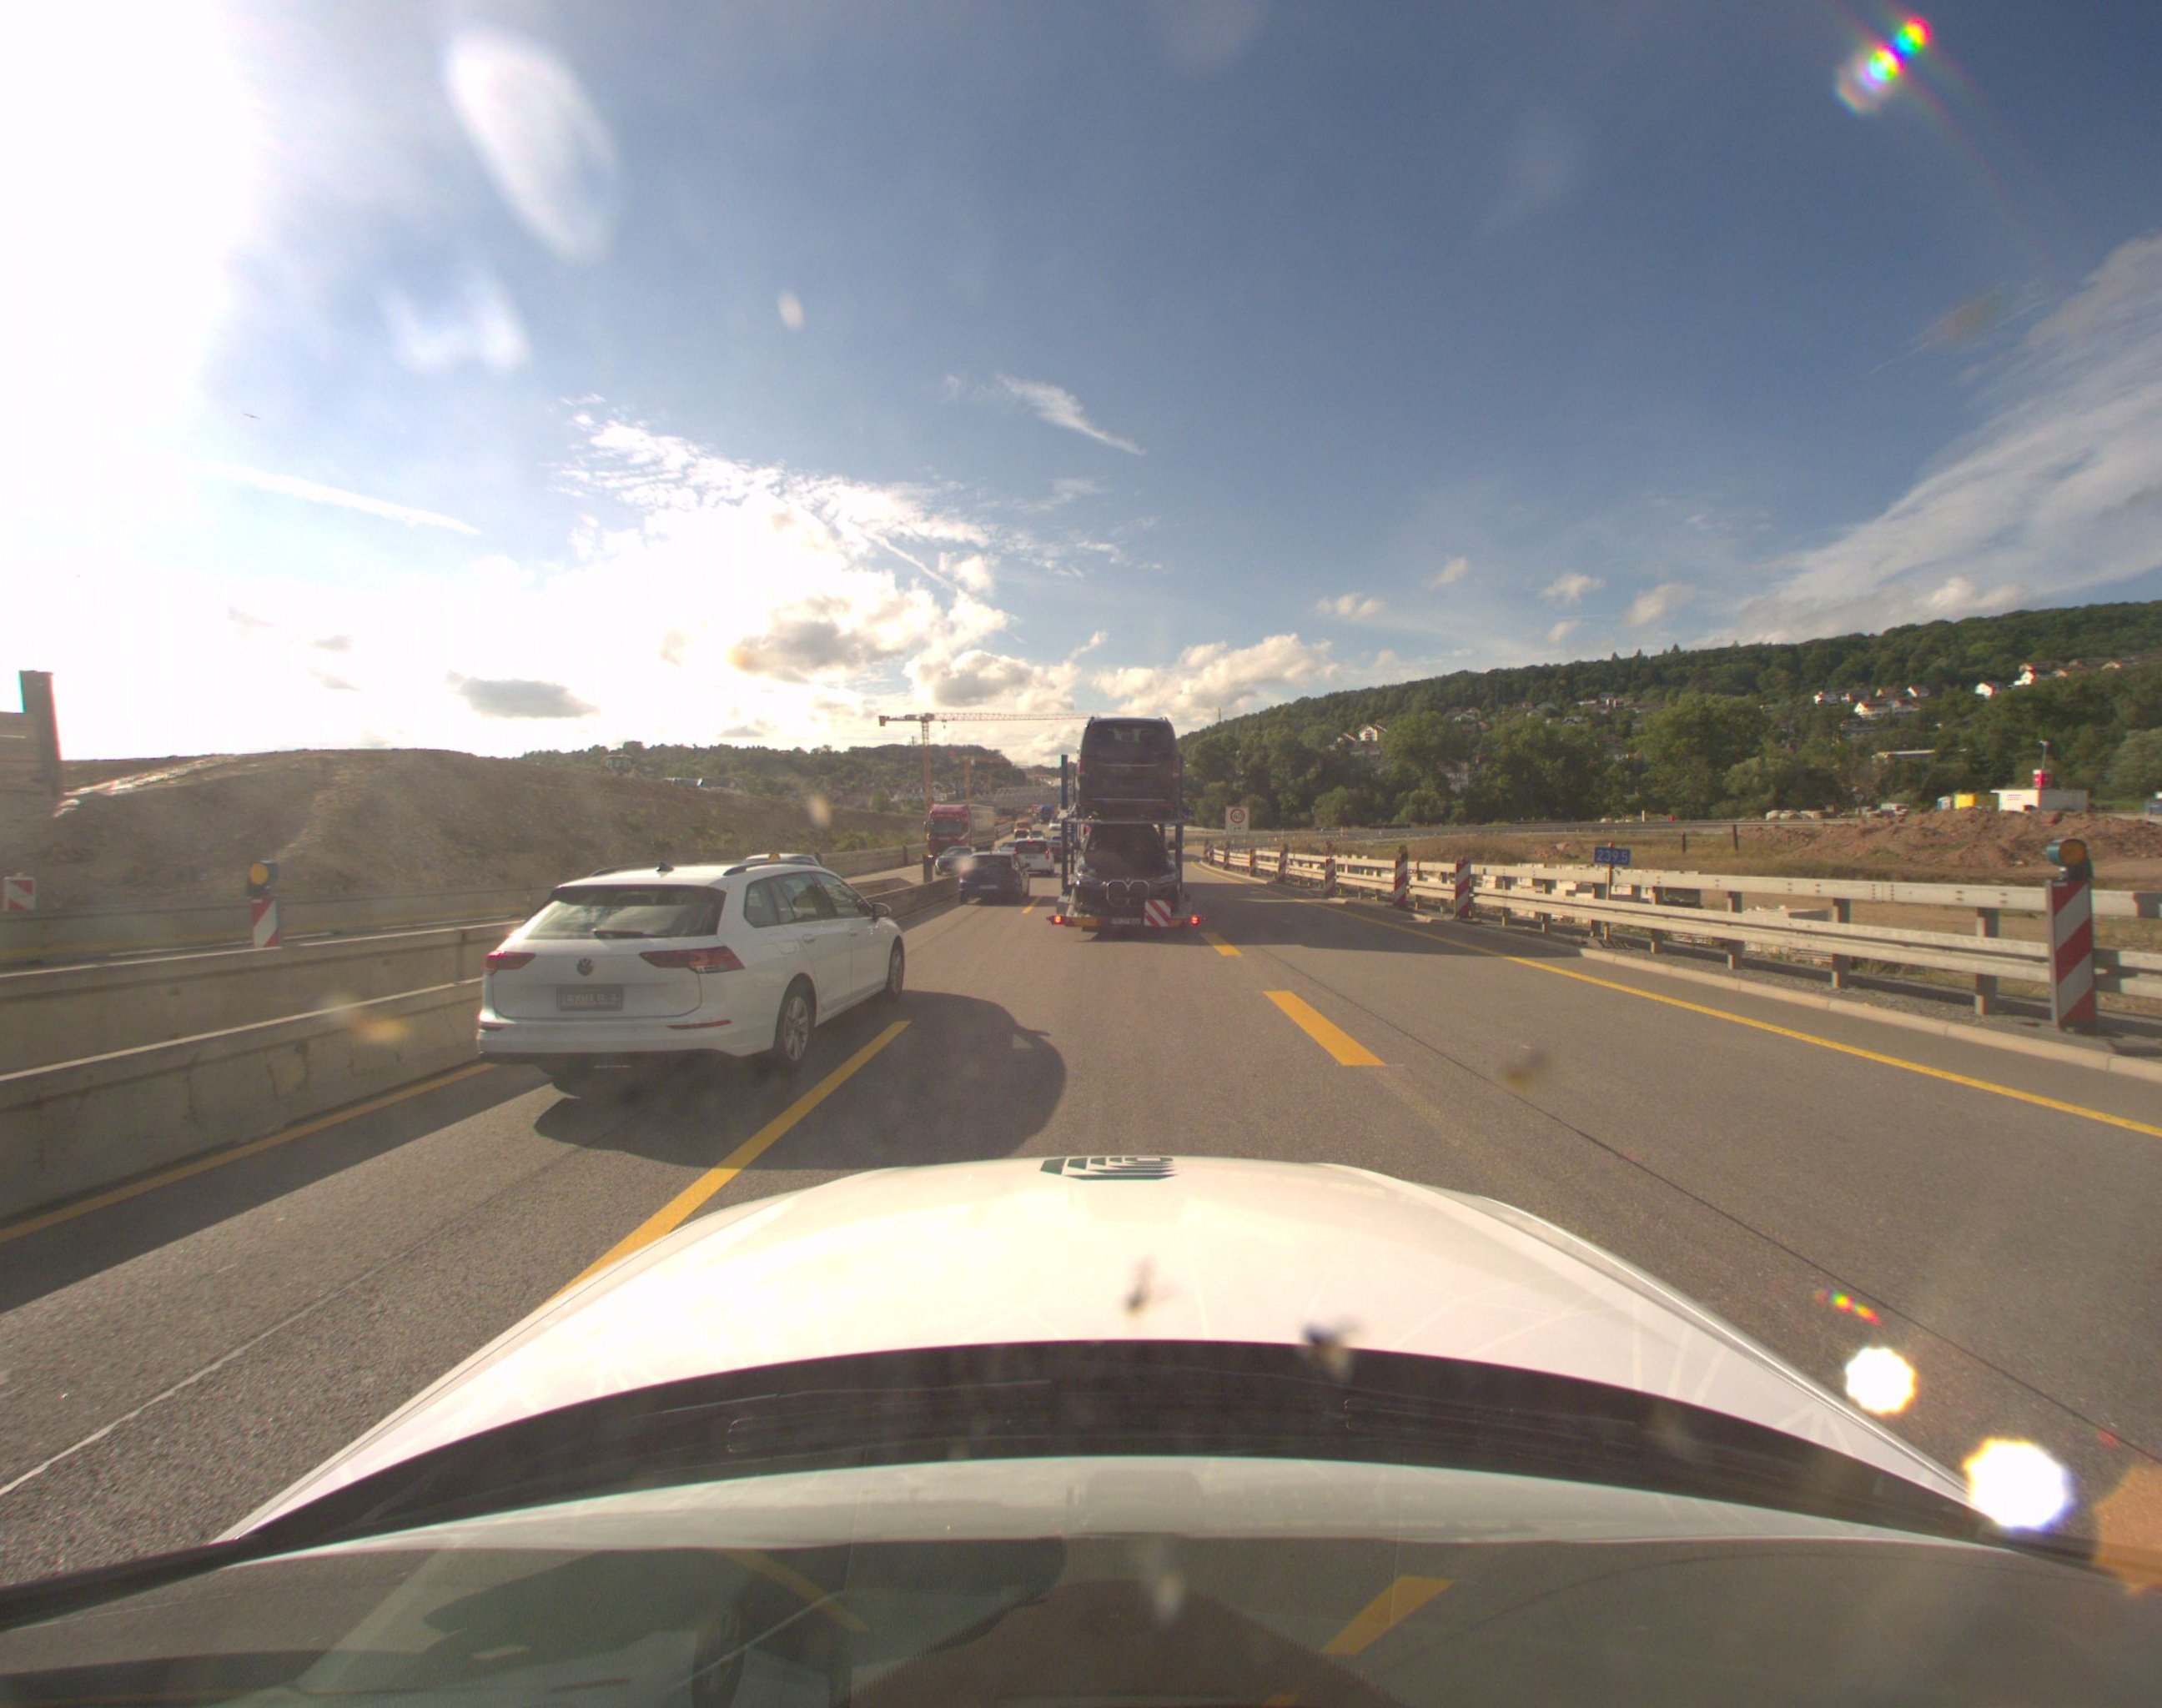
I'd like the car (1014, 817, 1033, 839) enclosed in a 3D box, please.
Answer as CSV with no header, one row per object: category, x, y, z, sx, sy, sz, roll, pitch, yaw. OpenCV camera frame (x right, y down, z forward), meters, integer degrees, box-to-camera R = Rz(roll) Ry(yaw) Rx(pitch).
car,-7.812,-3.456,110.956,1.986,2.879,6.068,0,1,2

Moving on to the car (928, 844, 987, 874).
car,-6.258,0.233,41.766,1.812,1.440,4.622,0,0,6

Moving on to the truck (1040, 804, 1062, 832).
truck,-6.096,-7.346,168.293,2.809,4.789,13.071,0,-1,5

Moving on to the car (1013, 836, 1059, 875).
car,-2.133,0.111,39.549,1.815,1.792,4.003,0,-1,3

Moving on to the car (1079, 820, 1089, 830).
car,0.507,-5.375,149.699,1.839,1.648,4.503,0,0,-1

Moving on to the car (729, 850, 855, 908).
car,-7.753,0.621,22.238,1.745,1.440,3.811,0,0,6

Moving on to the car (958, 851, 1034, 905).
car,-2.388,0.640,23.737,1.716,1.422,4.001,-1,0,1

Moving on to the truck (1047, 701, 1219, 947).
truck,1.033,-0.685,22.667,2.743,3.954,18.895,1,1,1

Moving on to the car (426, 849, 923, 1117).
car,-2.740,0.718,6.857,1.763,1.491,4.519,-1,0,2

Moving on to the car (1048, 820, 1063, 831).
car,-4.111,-4.671,132.007,1.985,1.683,4.004,0,2,3

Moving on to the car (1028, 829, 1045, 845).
car,-5.004,-1.909,91.967,1.840,1.648,4.233,0,0,-2

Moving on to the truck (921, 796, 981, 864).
truck,-8.848,-1.582,56.159,2.904,4.387,6.287,1,0,1

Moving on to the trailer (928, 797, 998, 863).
trailer,-8.753,-1.688,62.315,2.966,4.422,13.820,1,0,1

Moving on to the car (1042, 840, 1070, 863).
car,-1.816,-0.163,60.464,1.988,1.556,4.399,-1,-1,-1

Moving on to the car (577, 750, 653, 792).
car,-32.575,-5.735,57.138,1.987,2.140,5.322,-5,-1,1

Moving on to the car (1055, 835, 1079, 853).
car,-1.203,-0.886,71.278,1.987,1.552,4.001,0,1,1

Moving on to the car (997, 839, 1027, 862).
car,-5.048,-0.263,60.401,1.838,1.648,4.504,0,0,0

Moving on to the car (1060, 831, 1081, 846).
car,-1.113,-1.676,89.153,1.985,1.666,4.003,0,1,3
